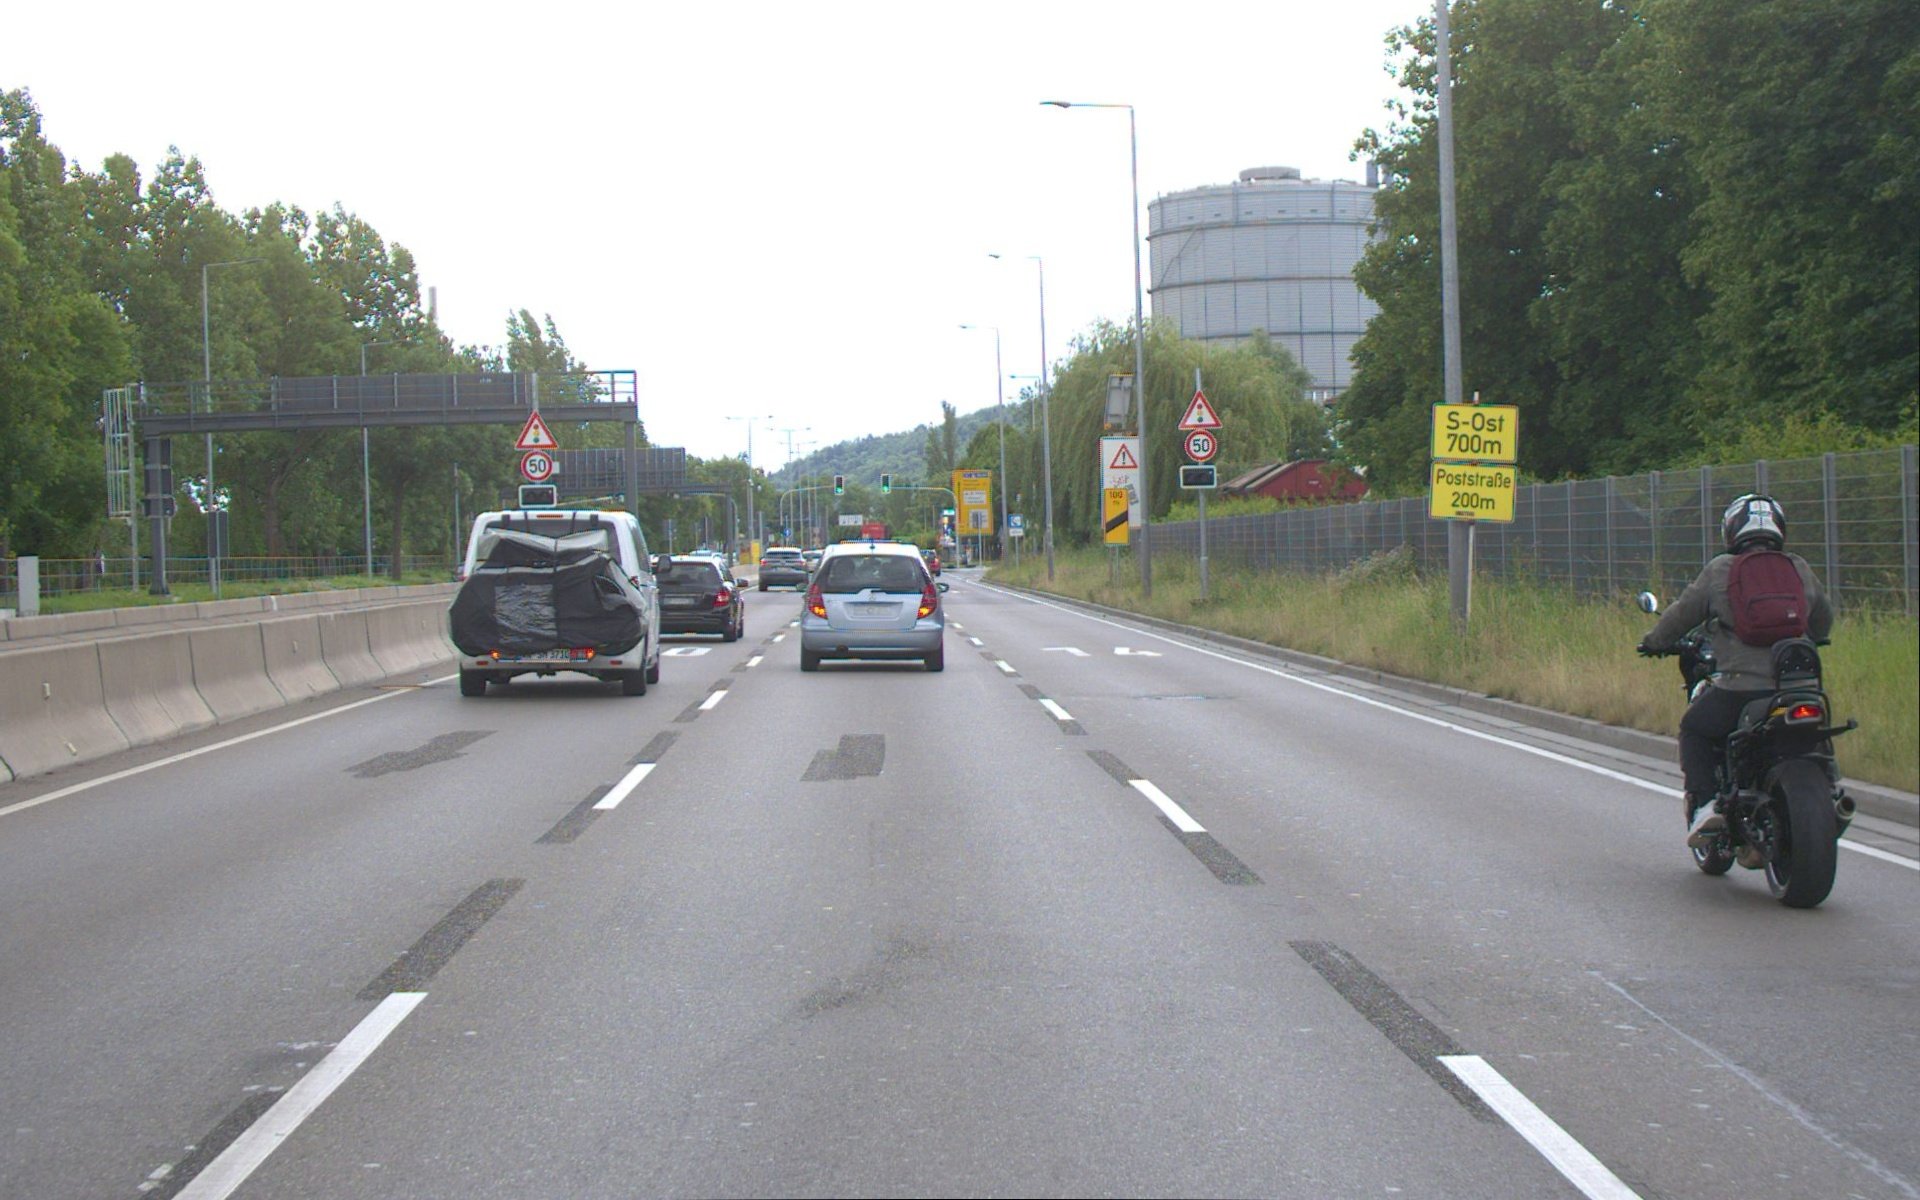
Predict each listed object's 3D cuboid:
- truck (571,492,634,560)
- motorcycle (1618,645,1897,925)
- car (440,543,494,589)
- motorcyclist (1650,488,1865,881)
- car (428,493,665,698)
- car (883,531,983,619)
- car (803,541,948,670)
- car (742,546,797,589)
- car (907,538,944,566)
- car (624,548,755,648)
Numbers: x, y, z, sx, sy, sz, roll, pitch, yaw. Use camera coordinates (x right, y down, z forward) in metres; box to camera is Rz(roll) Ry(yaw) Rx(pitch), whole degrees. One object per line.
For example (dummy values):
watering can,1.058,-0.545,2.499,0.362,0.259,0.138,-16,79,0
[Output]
truck,-16.793,-3.464,161.839,2.403,3.096,7.202,1,1,-2
motorcycle,3.343,0.744,14.587,0.706,1.036,2.027,1,1,0
car,-22.206,-1.535,154.917,1.993,2.007,4.001,1,1,-3
motorcyclist,3.360,0.341,14.544,0.685,1.604,0.845,1,1,0
car,-4.153,-0.076,35.256,2.214,1.919,5.003,1,1,-5
car,-0.568,-0.515,68.525,1.907,1.678,4.000,1,1,-1
car,-1.077,0.042,43.251,1.710,1.525,4.000,1,1,-2
car,-7.065,-1.210,127.869,1.993,1.546,4.000,1,1,-2
car,-1.987,-2.760,196.924,1.993,1.546,4.000,1,1,-2
car,-4.392,-0.061,56.267,1.993,1.546,4.001,1,1,-3
